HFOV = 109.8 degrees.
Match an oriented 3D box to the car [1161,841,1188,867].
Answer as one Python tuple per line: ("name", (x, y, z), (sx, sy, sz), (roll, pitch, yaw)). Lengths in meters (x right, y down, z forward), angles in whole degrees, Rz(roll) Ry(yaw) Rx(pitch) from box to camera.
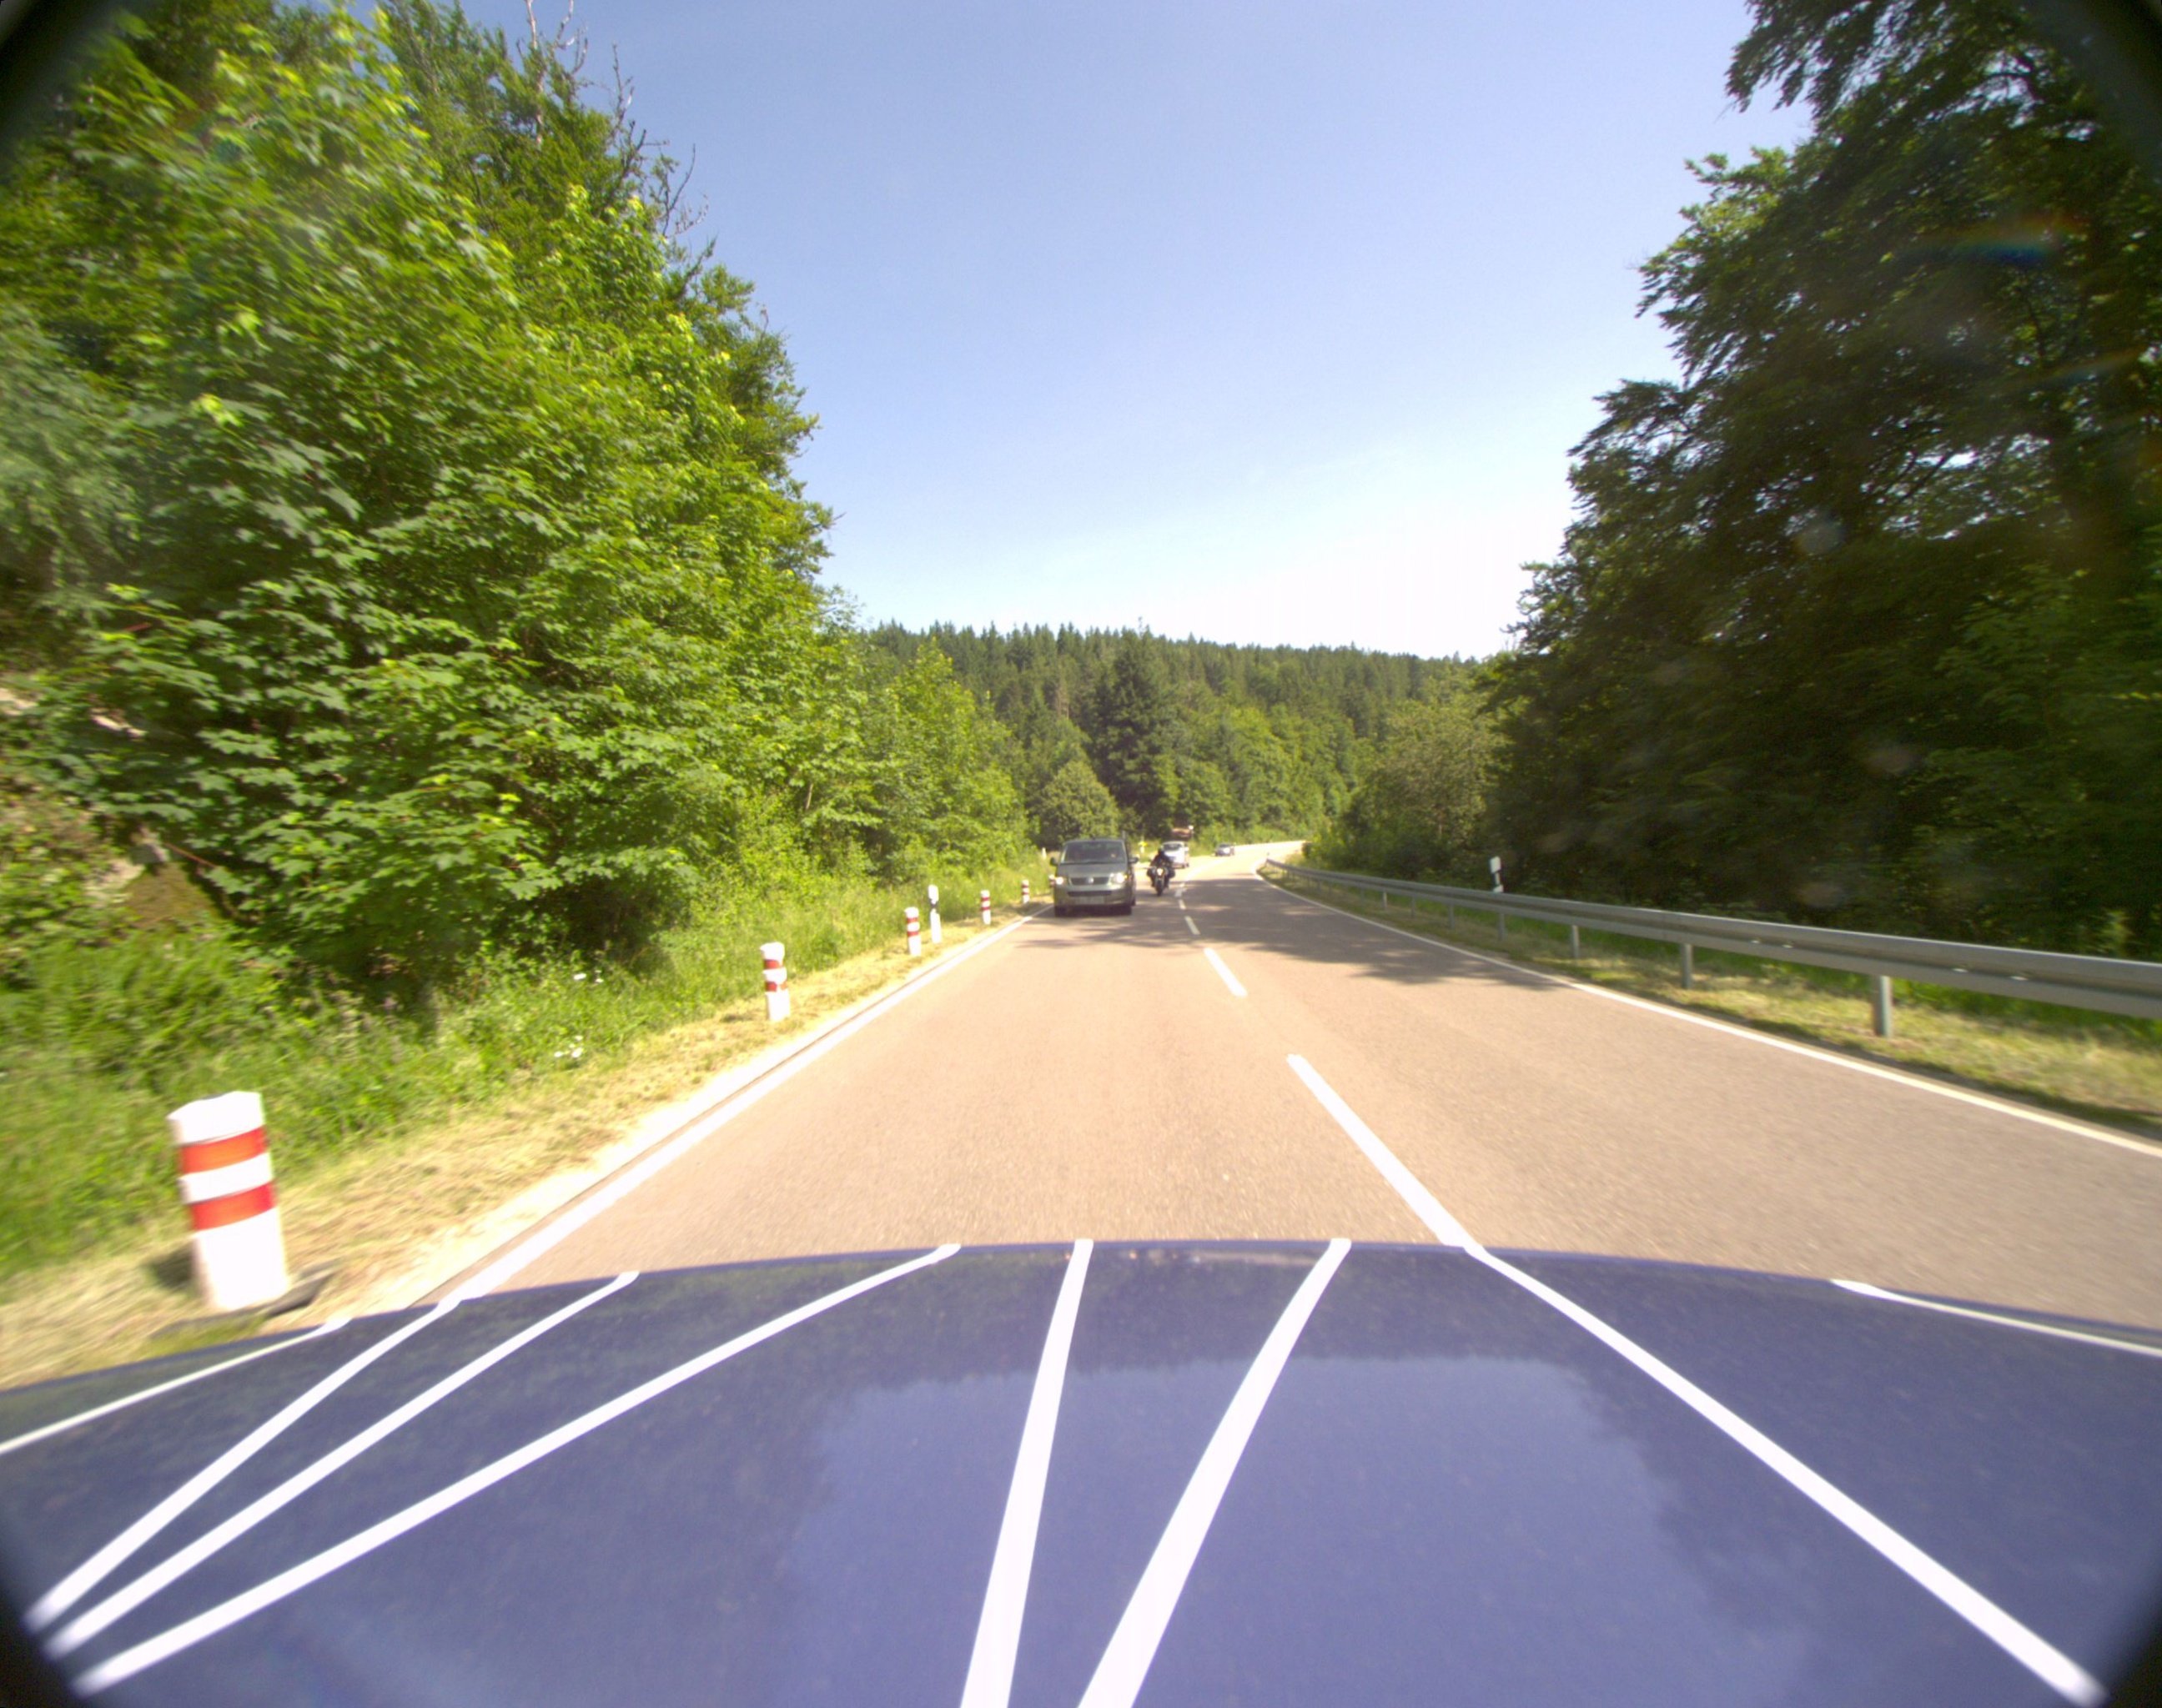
("car", (6.677, -0.023, 54.157), (1.651, 1.749, 3.796), (-1, 1, 10))

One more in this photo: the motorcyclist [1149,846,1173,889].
("motorcyclist", (2.724, 0.458, 26.014), (0.716, 1.422, 0.999), (-4, 0, 6))

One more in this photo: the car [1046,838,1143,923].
("car", (0.503, 0.578, 20.112), (2.028, 1.941, 4.901), (-1, 1, 7))

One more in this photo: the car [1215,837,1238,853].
("car", (16.355, -1.033, 85.432), (1.996, 1.634, 4.004), (-2, 1, 18))

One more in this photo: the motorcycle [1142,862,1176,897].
("motorcycle", (2.687, 0.854, 26.032), (1.109, 1.117, 1.961), (-2, 1, 7))
